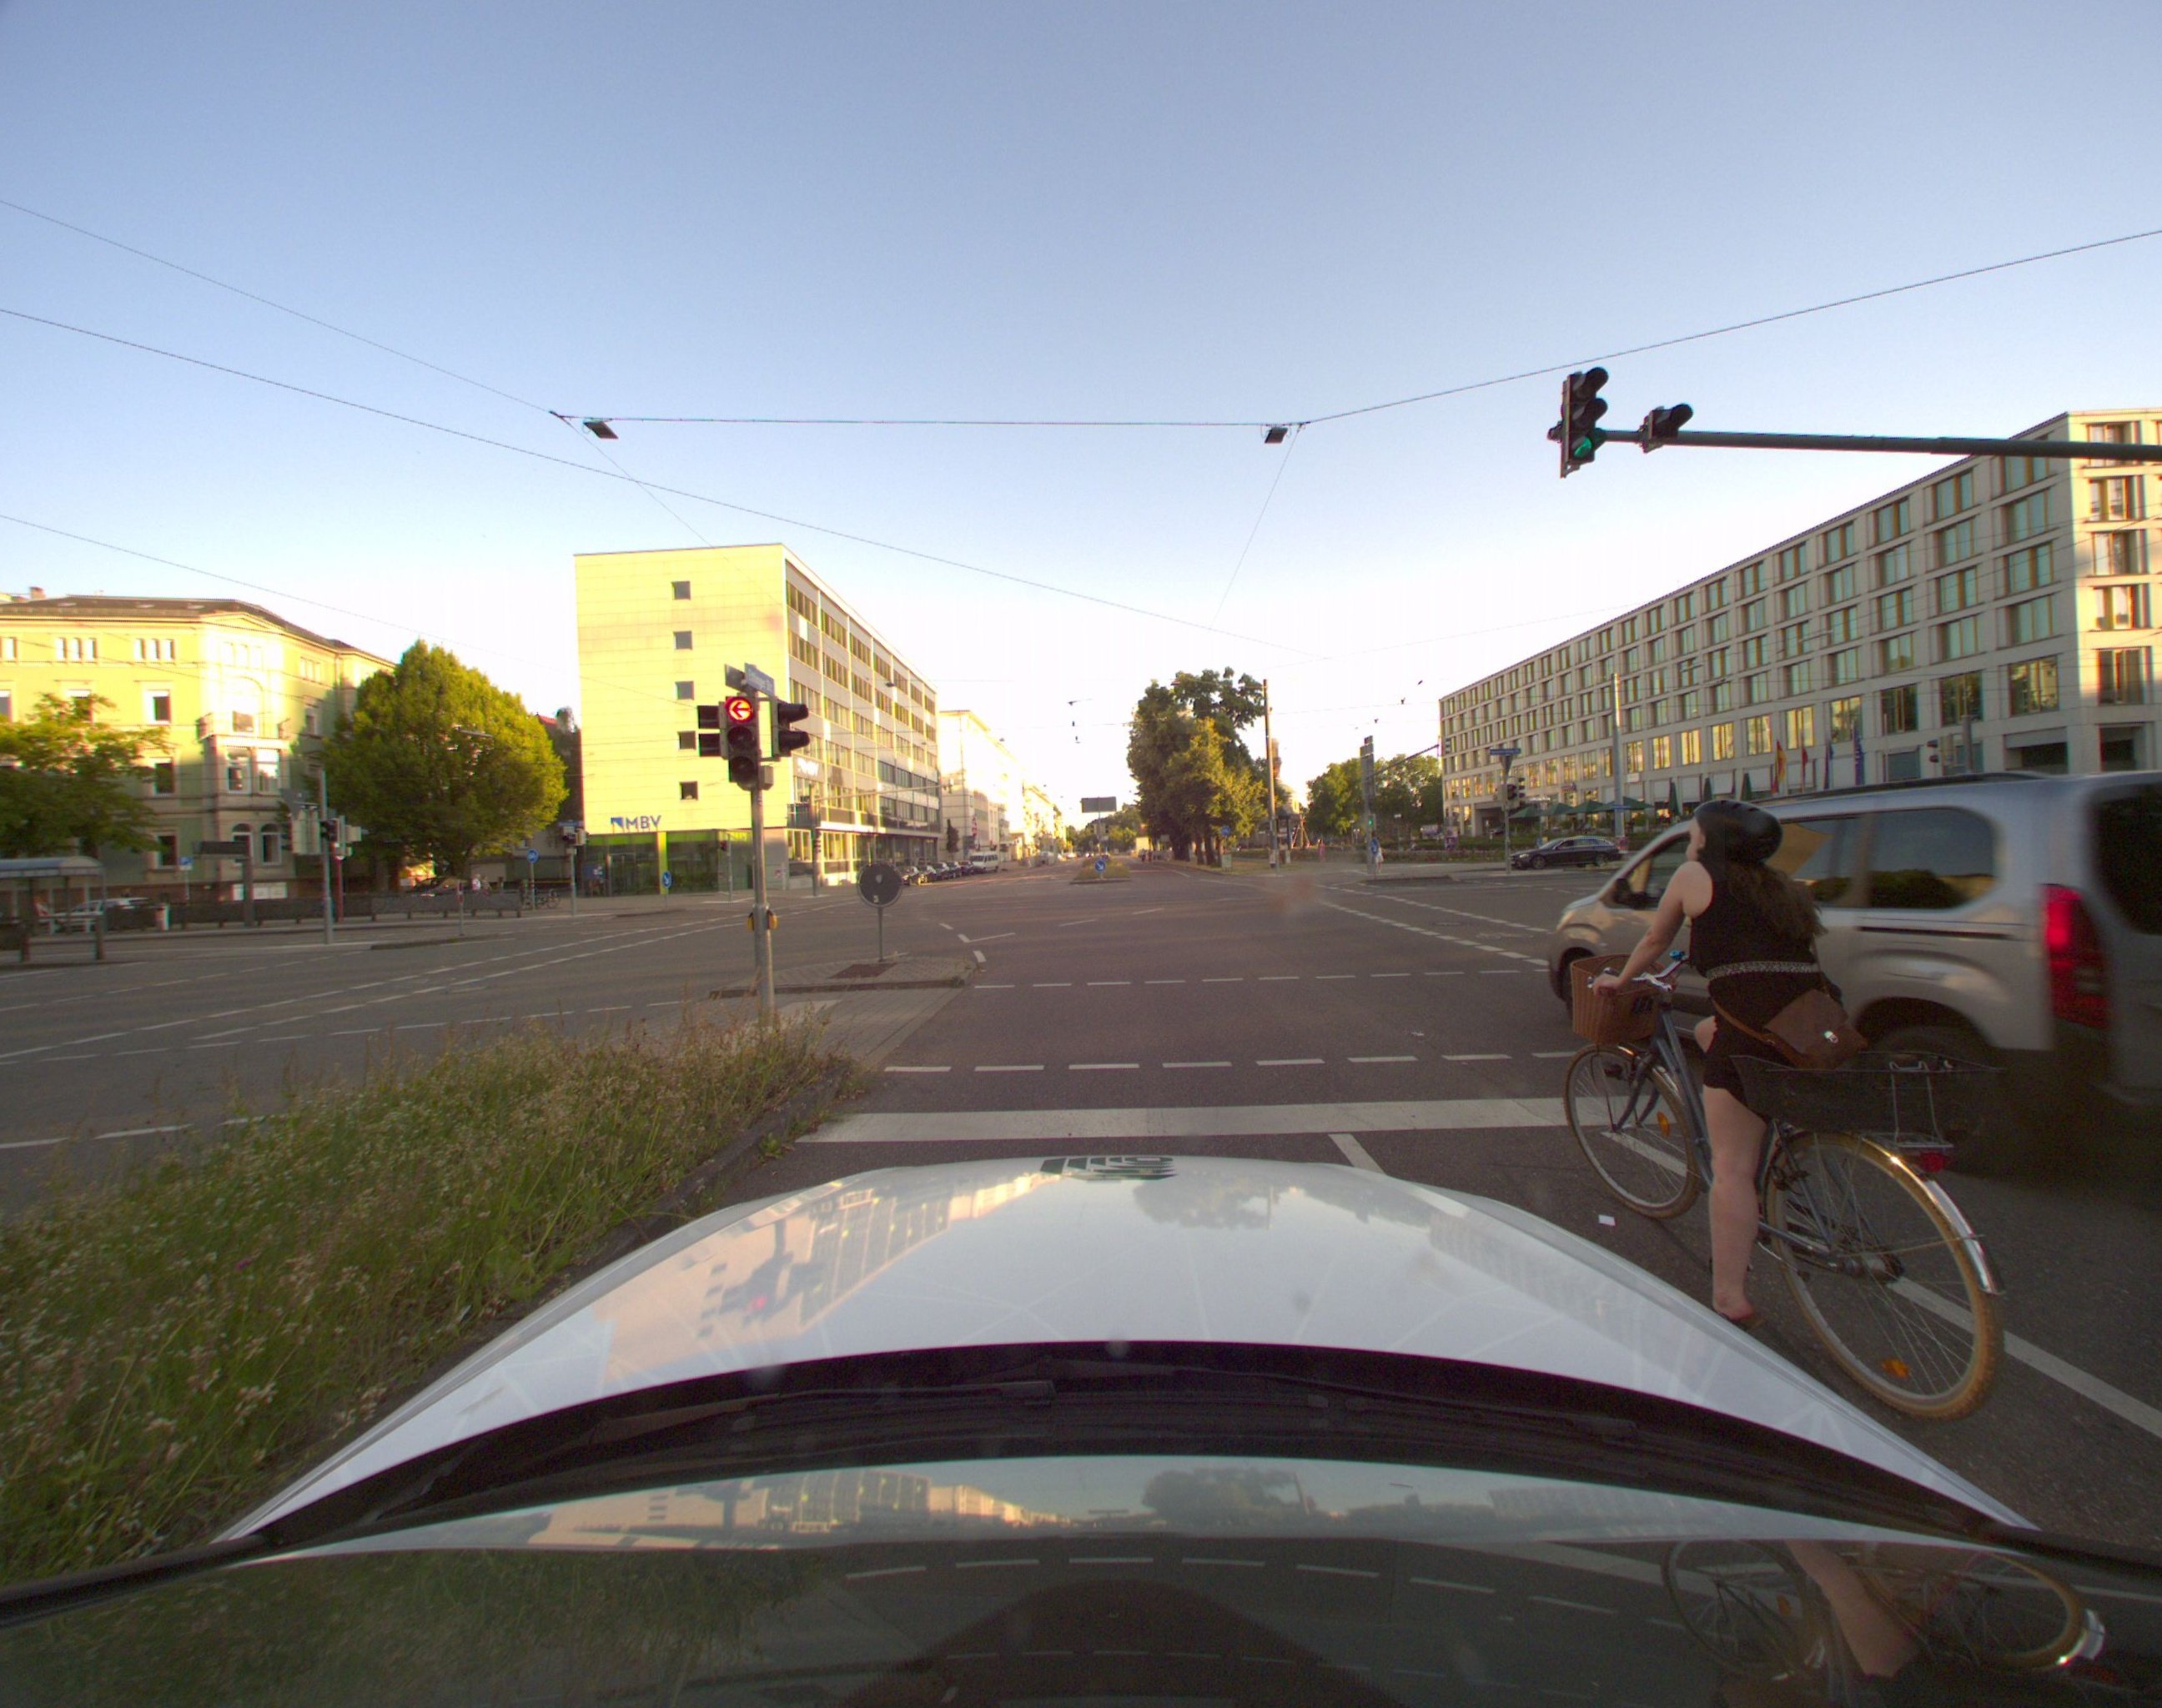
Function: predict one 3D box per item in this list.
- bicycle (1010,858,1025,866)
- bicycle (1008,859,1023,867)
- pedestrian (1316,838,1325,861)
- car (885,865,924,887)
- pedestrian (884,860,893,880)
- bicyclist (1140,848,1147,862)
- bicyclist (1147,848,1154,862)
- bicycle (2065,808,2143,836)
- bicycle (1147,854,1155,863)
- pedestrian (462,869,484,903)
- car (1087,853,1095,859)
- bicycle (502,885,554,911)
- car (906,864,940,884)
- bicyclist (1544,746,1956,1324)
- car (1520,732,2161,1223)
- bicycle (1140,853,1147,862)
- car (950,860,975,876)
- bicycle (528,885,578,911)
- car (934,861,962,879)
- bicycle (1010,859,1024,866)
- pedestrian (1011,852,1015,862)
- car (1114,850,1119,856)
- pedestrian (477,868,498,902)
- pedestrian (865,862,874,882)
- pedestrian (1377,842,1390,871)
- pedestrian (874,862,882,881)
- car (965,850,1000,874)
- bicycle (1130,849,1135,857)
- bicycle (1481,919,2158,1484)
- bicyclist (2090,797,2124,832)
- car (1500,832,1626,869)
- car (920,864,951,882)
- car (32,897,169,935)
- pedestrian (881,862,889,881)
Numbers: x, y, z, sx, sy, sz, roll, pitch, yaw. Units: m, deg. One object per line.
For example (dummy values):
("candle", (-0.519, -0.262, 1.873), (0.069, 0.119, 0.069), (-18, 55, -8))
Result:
("bicycle", (-10.114, 1.295, 129.333), (2.198, 1.236, 0.839), (-3, 0, 0))
("bicycle", (-10.088, 1.321, 125.945), (2.198, 1.112, 0.619), (-3, 0, 0))
("pedestrian", (17.506, -0.350, 59.485), (0.458, 1.656, 0.567), (-3, 0, 1))
("car", (-13.511, 1.660, 62.414), (1.913, 1.464, 4.105), (-3, 0, 2))
("pedestrian", (-16.735, 1.391, 70.825), (0.549, 1.679, 0.500), (-3, 0, 1))
("bicyclist", (7.843, 0.107, 102.333), (0.744, 1.663, 0.873), (-3, 0, 1))
("bicyclist", (8.764, 0.150, 102.358), (0.744, 1.691, 0.799), (-3, 0, 1))
("bicycle", (46.107, -1.423, 36.722), (2.762, 1.106, 0.602), (-3, 0, -1))
("bicycle", (8.789, 0.570, 102.405), (0.744, 1.144, 2.506), (-3, 0, 2))
("pedestrian", (-32.700, 1.713, 43.789), (0.641, 1.790, 0.720), (-3, 0, -12))
("car", (2.647, 0.438, 211.859), (1.855, 1.519, 4.003), (-3, 0, 3))
("bicycle", (-27.052, 2.141, 39.879), (0.832, 1.112, 2.216), (-3, 0, 6))
("car", (-13.316, 1.646, 68.911), (1.913, 1.464, 4.002), (-3, 0, 2))
("bicyclist", (2.184, 0.516, 2.816), (0.597, 1.636, 0.999), (-1, 0, 2))
("car", (4.892, 0.458, 5.362), (1.755, 1.888, 4.503), (-1, 0, 3))
("bicycle", (7.877, 0.402, 102.655), (0.744, 1.144, 2.506), (-3, 0, 2))
("car", (-12.388, 1.446, 85.248), (1.913, 1.568, 4.002), (-3, 0, 2))
("bicycle", (-25.810, 2.128, 39.853), (0.832, 1.112, 2.216), (-3, 0, 6))
("car", (-12.856, 1.574, 79.025), (1.913, 1.568, 4.002), (-3, 0, 2))
("bicycle", (-10.009, 1.319, 127.473), (2.198, 1.112, 0.689), (-3, 0, 0))
("pedestrian", (-13.880, 0.564, 165.381), (0.677, 2.013, 0.545), (-3, 0, 1))
("car", (10.346, -0.188, 238.685), (1.403, 1.641, 4.000), (-3, 0, 1))
("pedestrian", (-32.483, 1.681, 44.567), (0.641, 1.790, 0.720), (-3, 0, -12))
("pedestrian", (-18.354, 1.547, 70.629), (0.549, 1.679, 0.500), (-3, 0, 1))
("pedestrian", (15.976, 0.131, 43.027), (0.489, 1.540, 0.408), (-3, 0, 1))
("pedestrian", (-17.794, 1.550, 71.438), (0.549, 1.679, 0.500), (-3, 0, 1))
("car", (-11.062, 0.866, 91.683), (1.988, 2.478, 5.888), (-3, 0, 12))
("bicycle", (13.152, -0.273, 208.649), (0.998, 2.013, 4.001), (-3, 0, 1))
("bicycle", (2.189, 0.880, 2.876), (0.609, 1.132, 2.005), (-1, 0, 2))
("bicyclist", (46.245, -1.765, 36.711), (0.705, 1.537, 0.577), (-3, 0, -1))
("car", (23.132, -0.152, 39.216), (4.803, 1.515, 2.002), (-3, 0, 4))
("car", (-13.108, 1.684, 73.724), (1.913, 1.464, 4.002), (-3, 0, 2))
("car", (-45.227, 2.842, 37.675), (3.588, 1.372, 1.833), (-3, 0, -15))
("pedestrian", (-17.212, 1.521, 71.443), (0.498, 1.679, 0.500), (-3, 0, 1))
